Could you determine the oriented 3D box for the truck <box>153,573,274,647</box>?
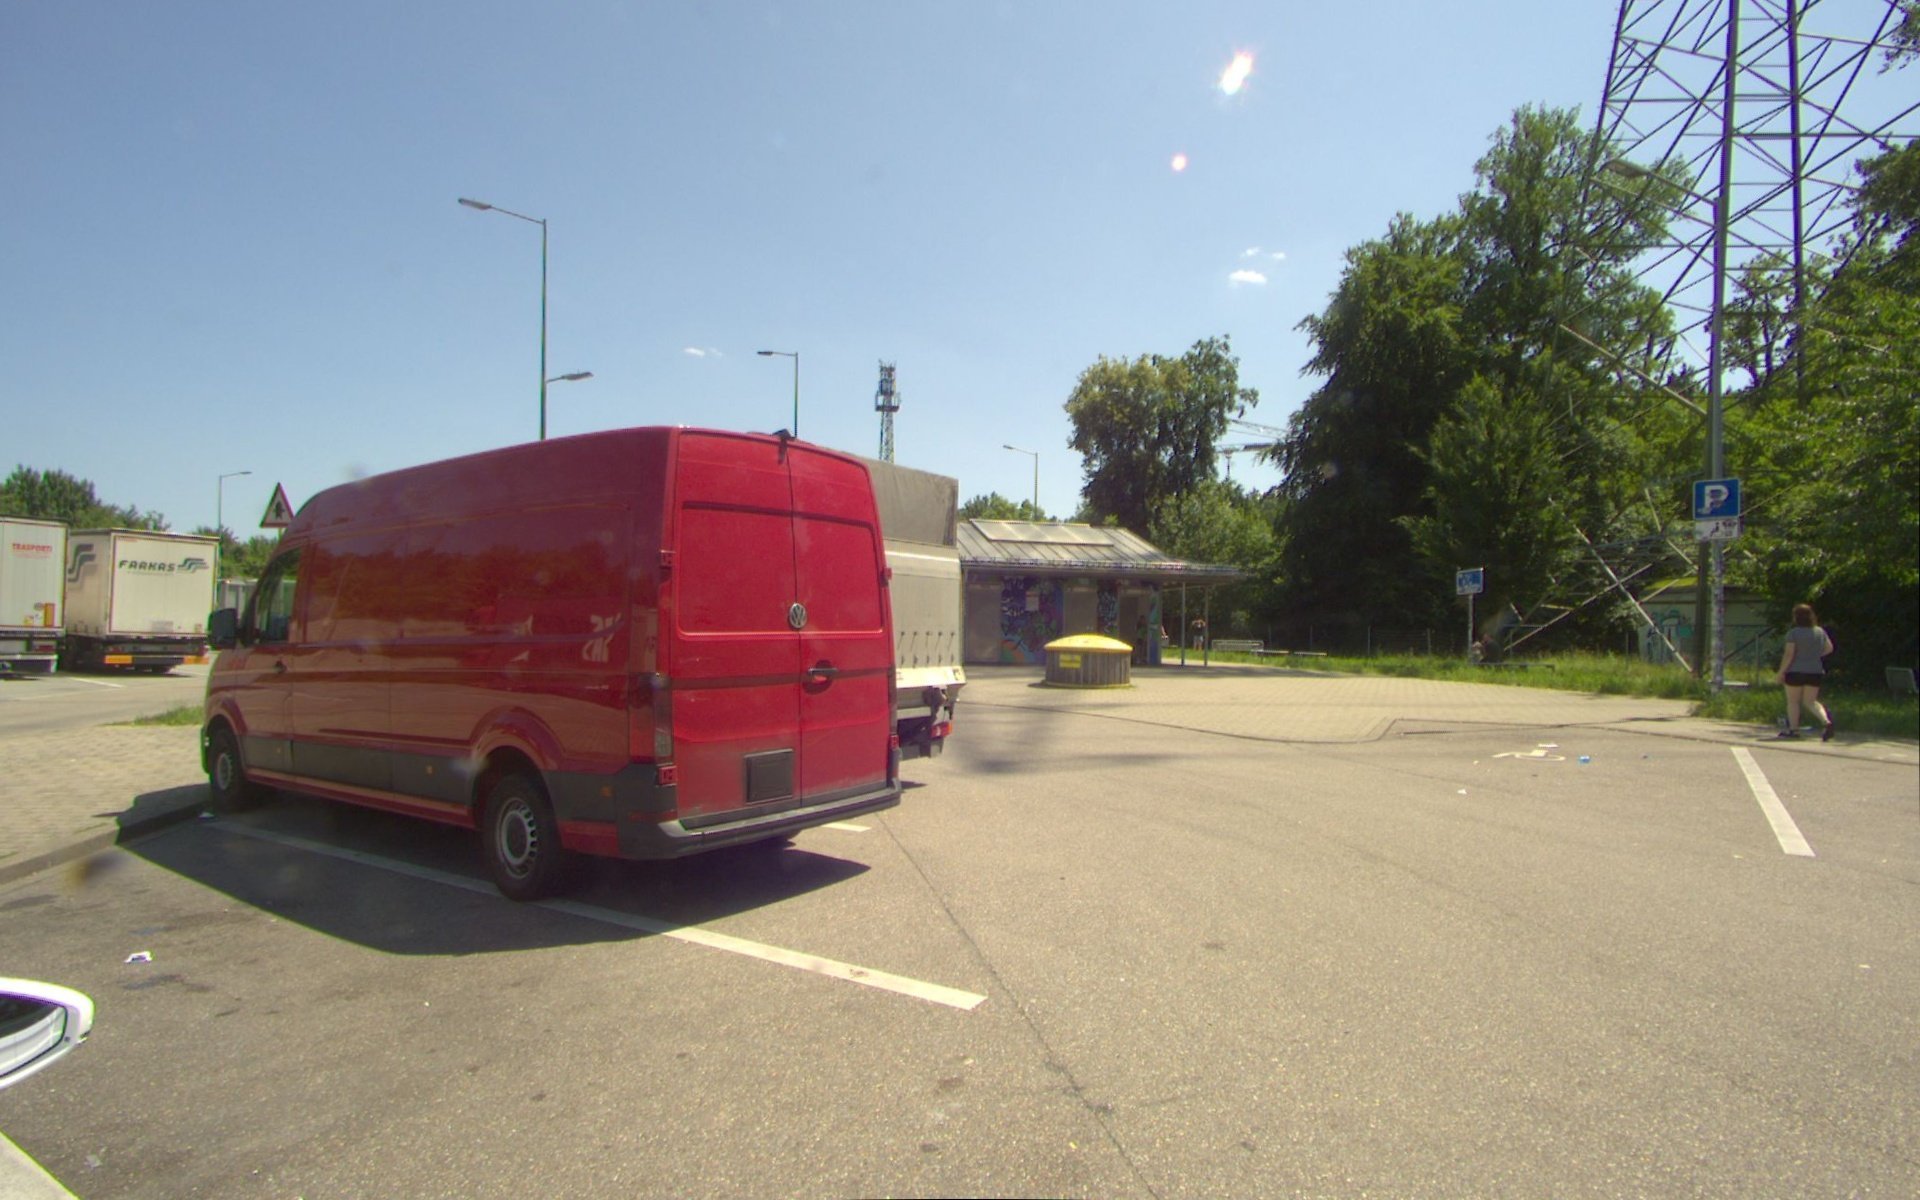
[{"bbox_3d":[-37.531,0.482,50.310,5.887,3.406,2.862,1,-2,32],"label":"truck"}]

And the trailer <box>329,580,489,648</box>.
[{"bbox_3d":[-36.151,0.854,65.325,13.562,3.955,2.854,1,-2,32],"label":"trailer"}]

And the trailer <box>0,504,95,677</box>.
[{"bbox_3d":[-28.674,-0.338,28.008,13.562,4.162,2.854,1,-2,32],"label":"trailer"}]

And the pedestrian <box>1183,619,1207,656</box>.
[{"bbox_3d":[10.587,1.694,45.111,0.803,1.639,0.915,-1,-2,34],"label":"pedestrian"}]

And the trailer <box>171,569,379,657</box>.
[{"bbox_3d":[-32.460,0.490,47.086,13.562,3.646,2.854,1,-2,32],"label":"trailer"}]

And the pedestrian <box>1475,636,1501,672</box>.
[{"bbox_3d":[14.657,1.493,27.796,0.439,0.987,0.460,0,-1,-19],"label":"pedestrian"}]

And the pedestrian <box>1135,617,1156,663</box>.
[{"bbox_3d":[5.733,1.232,30.968,0.532,1.392,0.583,0,-1,0],"label":"pedestrian"}]

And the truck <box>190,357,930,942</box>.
[{"bbox_3d":[-3.326,0.301,7.320,6.372,2.685,2.005,-1,-2,37],"label":"truck"}]

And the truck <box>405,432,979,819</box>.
[{"bbox_3d":[-3.075,0.273,10.504,6.372,2.944,2.411,-1,-2,37],"label":"truck"}]

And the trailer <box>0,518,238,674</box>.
[{"bbox_3d":[-27.600,-0.165,31.595,13.562,4.162,2.854,1,-2,32],"label":"trailer"}]

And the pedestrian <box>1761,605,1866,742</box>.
[{"bbox_3d":[10.708,0.908,12.579,0.674,1.670,0.715,0,-1,-8],"label":"pedestrian"}]
